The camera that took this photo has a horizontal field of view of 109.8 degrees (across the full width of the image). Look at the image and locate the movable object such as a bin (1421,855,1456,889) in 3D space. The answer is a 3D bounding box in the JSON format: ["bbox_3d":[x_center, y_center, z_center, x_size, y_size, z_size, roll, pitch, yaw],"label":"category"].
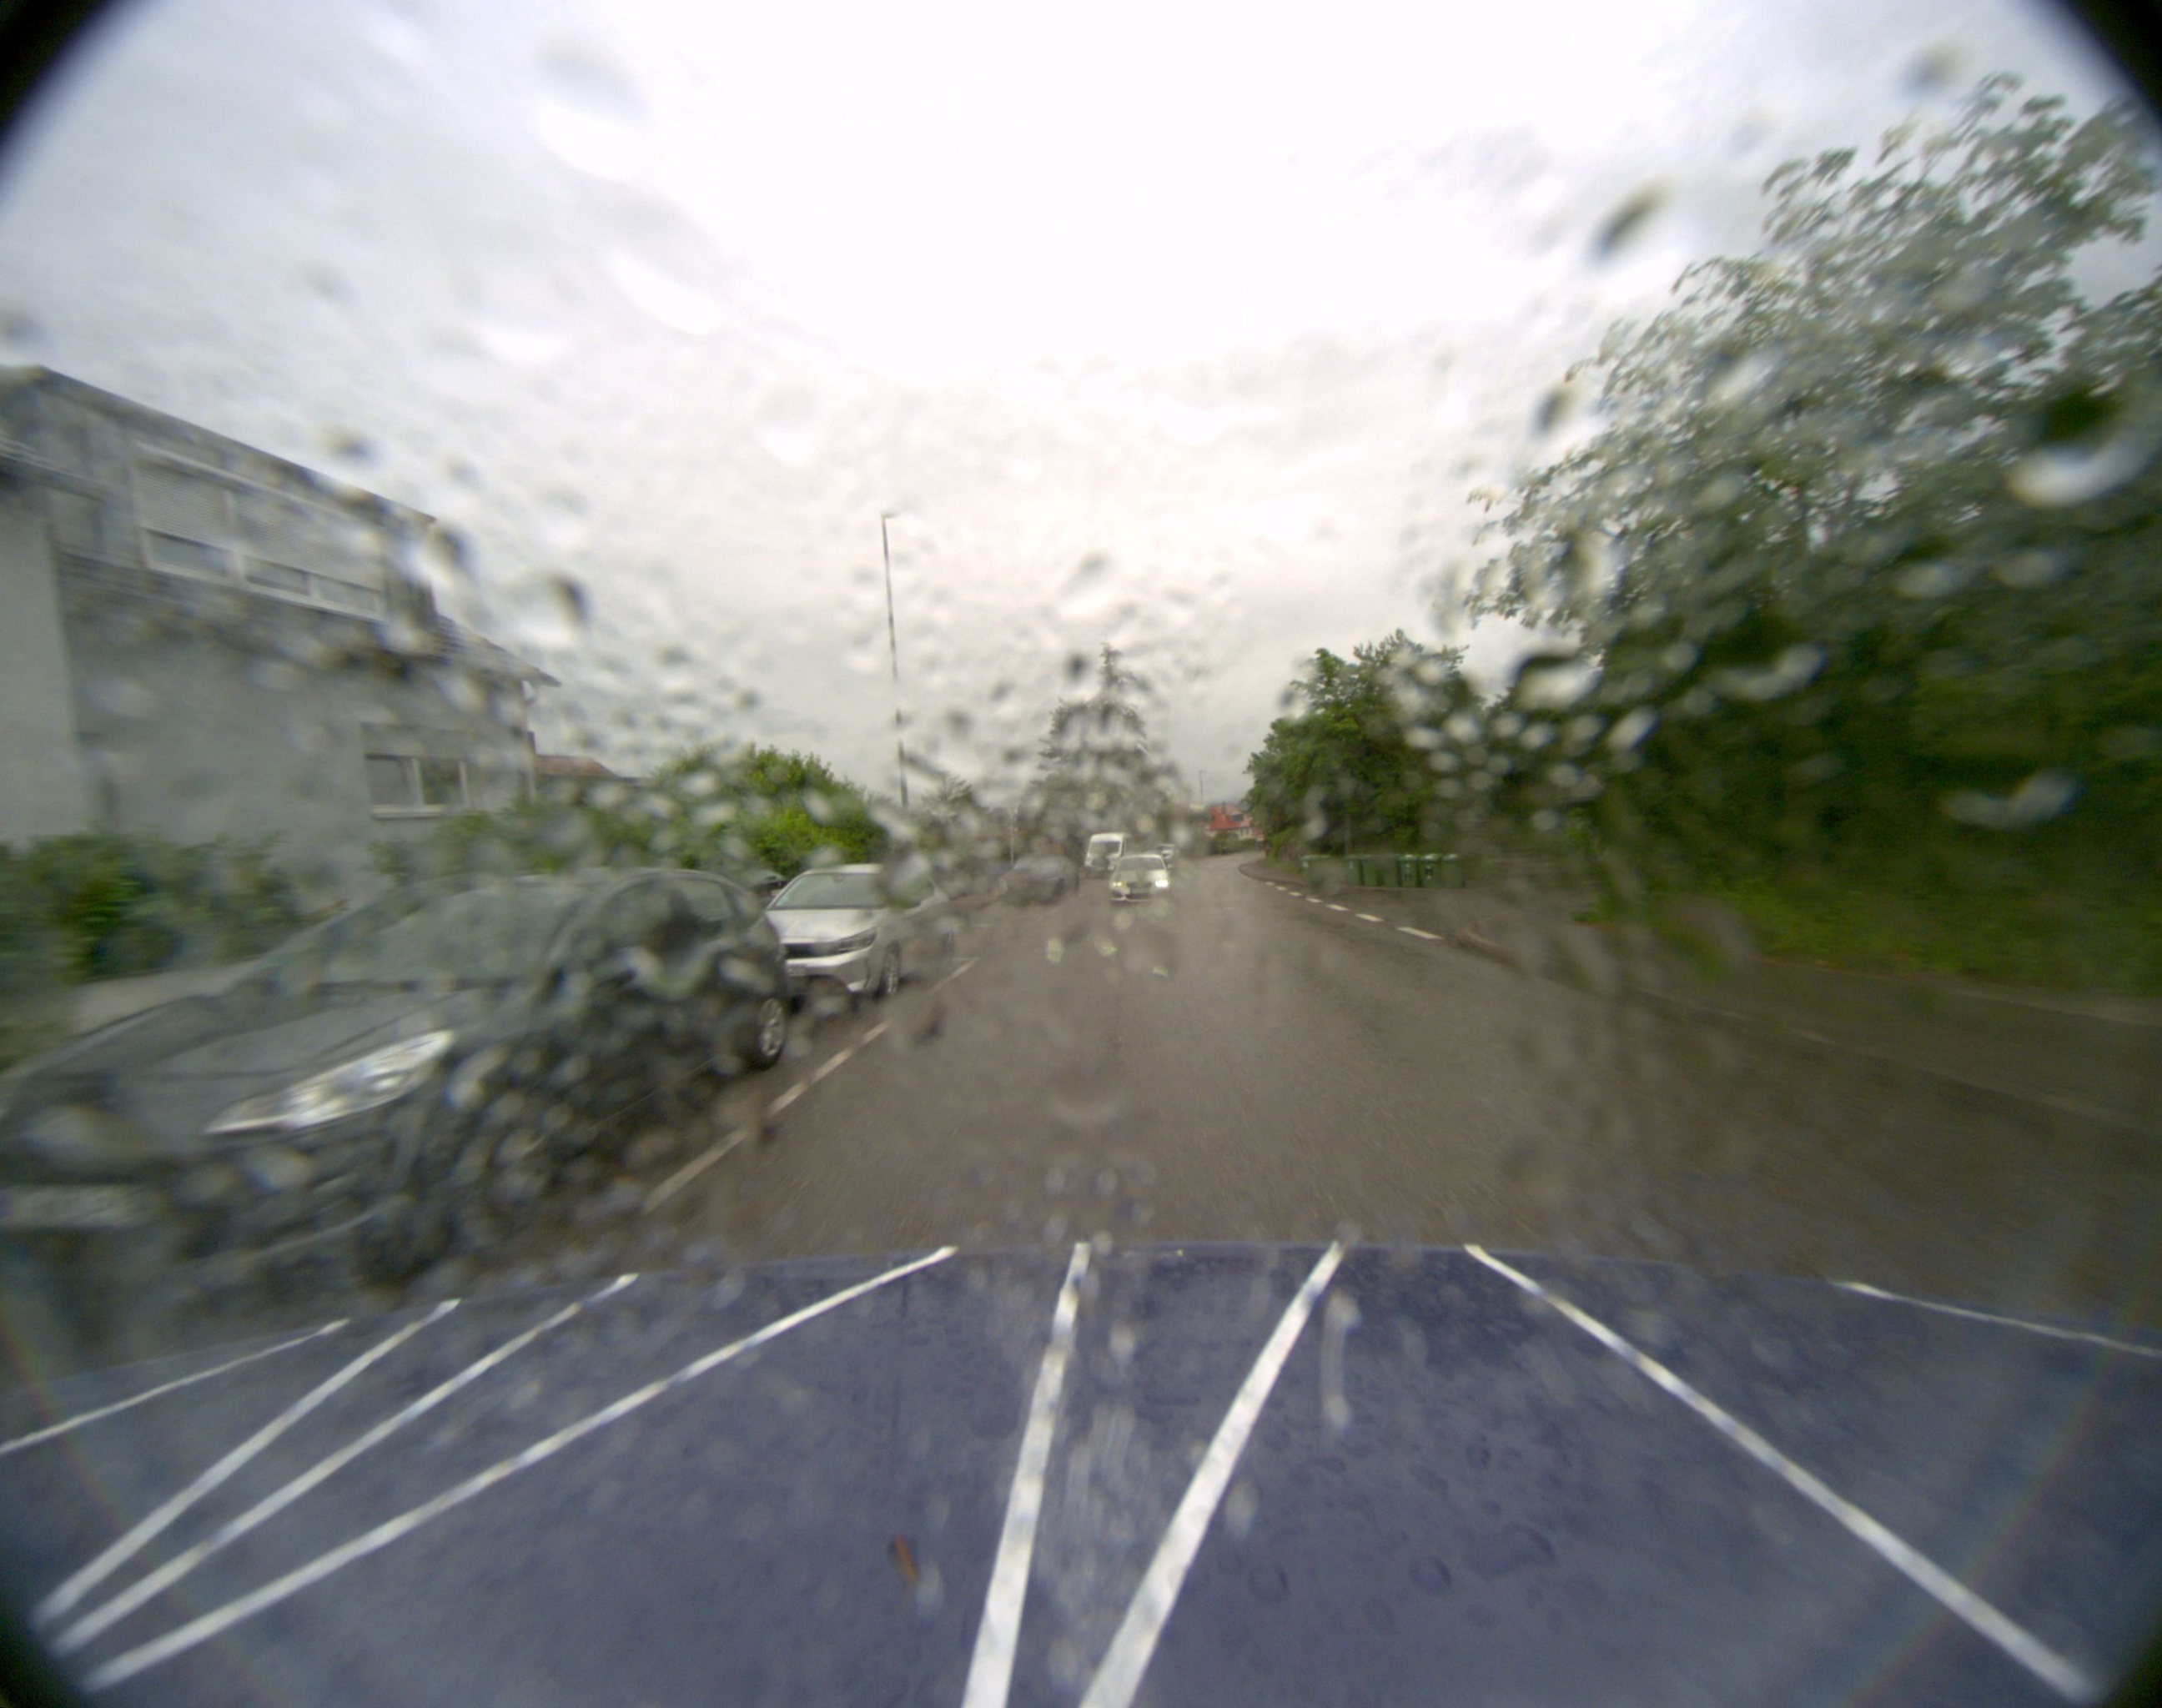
[{"bbox_3d":[11.448,0.578,24.337,0.781,1.022,0.718,-6,2,-40],"label":"movable object such as a bin"}]

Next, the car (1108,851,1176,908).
[{"bbox_3d":[1.915,0.693,22.706,1.797,1.455,4.001,-1,1,8],"label":"car"}]

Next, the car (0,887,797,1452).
[{"bbox_3d":[-3.127,1.007,4.108,1.663,1.459,3.763,0,1,2],"label":"car"}]

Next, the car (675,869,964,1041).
[{"bbox_3d":[-2.751,0.968,9.130,1.772,1.459,4.235,0,1,4],"label":"car"}]

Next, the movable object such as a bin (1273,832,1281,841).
[{"bbox_3d":[21.527,-1.908,83.482,0.880,1.024,0.804,-1,1,17],"label":"movable object such as a bin"}]

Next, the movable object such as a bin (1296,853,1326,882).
[{"bbox_3d":[8.646,0.490,28.578,0.780,1.022,0.718,-5,2,-17],"label":"movable object such as a bin"}]

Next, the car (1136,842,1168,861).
[{"bbox_3d":[5.463,-0.213,58.159,1.752,1.415,4.004,-1,1,15],"label":"car"}]

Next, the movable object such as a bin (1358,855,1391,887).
[{"bbox_3d":[10.053,0.570,26.051,0.781,1.022,0.718,-6,2,-40],"label":"movable object such as a bin"}]

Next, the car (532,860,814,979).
[{"bbox_3d":[-7.320,1.147,13.855,3.995,1.433,2.001,-8,0,10],"label":"car"}]

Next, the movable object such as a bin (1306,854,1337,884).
[{"bbox_3d":[8.817,0.551,27.858,0.780,1.022,0.718,-5,2,-17],"label":"movable object such as a bin"}]

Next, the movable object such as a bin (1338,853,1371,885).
[{"bbox_3d":[9.574,0.527,26.622,0.781,1.022,0.718,-6,2,-40],"label":"movable object such as a bin"}]

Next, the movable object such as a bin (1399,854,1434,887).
[{"bbox_3d":[10.989,0.545,24.906,0.781,1.022,0.718,-6,2,-40],"label":"movable object such as a bin"}]

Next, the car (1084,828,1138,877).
[{"bbox_3d":[1.801,-0.155,43.163,2.076,2.535,6.185,-1,1,12],"label":"car"}]

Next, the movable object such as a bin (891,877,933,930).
[{"bbox_3d":[-3.571,1.039,16.097,0.677,1.061,0.645,-2,1,6],"label":"movable object such as a bin"}]

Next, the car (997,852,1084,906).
[{"bbox_3d":[-1.171,0.728,24.507,1.861,1.518,5.066,0,1,8],"label":"car"}]

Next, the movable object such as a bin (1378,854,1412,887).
[{"bbox_3d":[10.517,0.560,25.484,0.781,1.022,0.718,-6,2,-40],"label":"movable object such as a bin"}]

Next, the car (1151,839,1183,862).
[{"bbox_3d":[7.330,-0.334,64.378,1.867,1.808,4.867,-1,1,17],"label":"car"}]
